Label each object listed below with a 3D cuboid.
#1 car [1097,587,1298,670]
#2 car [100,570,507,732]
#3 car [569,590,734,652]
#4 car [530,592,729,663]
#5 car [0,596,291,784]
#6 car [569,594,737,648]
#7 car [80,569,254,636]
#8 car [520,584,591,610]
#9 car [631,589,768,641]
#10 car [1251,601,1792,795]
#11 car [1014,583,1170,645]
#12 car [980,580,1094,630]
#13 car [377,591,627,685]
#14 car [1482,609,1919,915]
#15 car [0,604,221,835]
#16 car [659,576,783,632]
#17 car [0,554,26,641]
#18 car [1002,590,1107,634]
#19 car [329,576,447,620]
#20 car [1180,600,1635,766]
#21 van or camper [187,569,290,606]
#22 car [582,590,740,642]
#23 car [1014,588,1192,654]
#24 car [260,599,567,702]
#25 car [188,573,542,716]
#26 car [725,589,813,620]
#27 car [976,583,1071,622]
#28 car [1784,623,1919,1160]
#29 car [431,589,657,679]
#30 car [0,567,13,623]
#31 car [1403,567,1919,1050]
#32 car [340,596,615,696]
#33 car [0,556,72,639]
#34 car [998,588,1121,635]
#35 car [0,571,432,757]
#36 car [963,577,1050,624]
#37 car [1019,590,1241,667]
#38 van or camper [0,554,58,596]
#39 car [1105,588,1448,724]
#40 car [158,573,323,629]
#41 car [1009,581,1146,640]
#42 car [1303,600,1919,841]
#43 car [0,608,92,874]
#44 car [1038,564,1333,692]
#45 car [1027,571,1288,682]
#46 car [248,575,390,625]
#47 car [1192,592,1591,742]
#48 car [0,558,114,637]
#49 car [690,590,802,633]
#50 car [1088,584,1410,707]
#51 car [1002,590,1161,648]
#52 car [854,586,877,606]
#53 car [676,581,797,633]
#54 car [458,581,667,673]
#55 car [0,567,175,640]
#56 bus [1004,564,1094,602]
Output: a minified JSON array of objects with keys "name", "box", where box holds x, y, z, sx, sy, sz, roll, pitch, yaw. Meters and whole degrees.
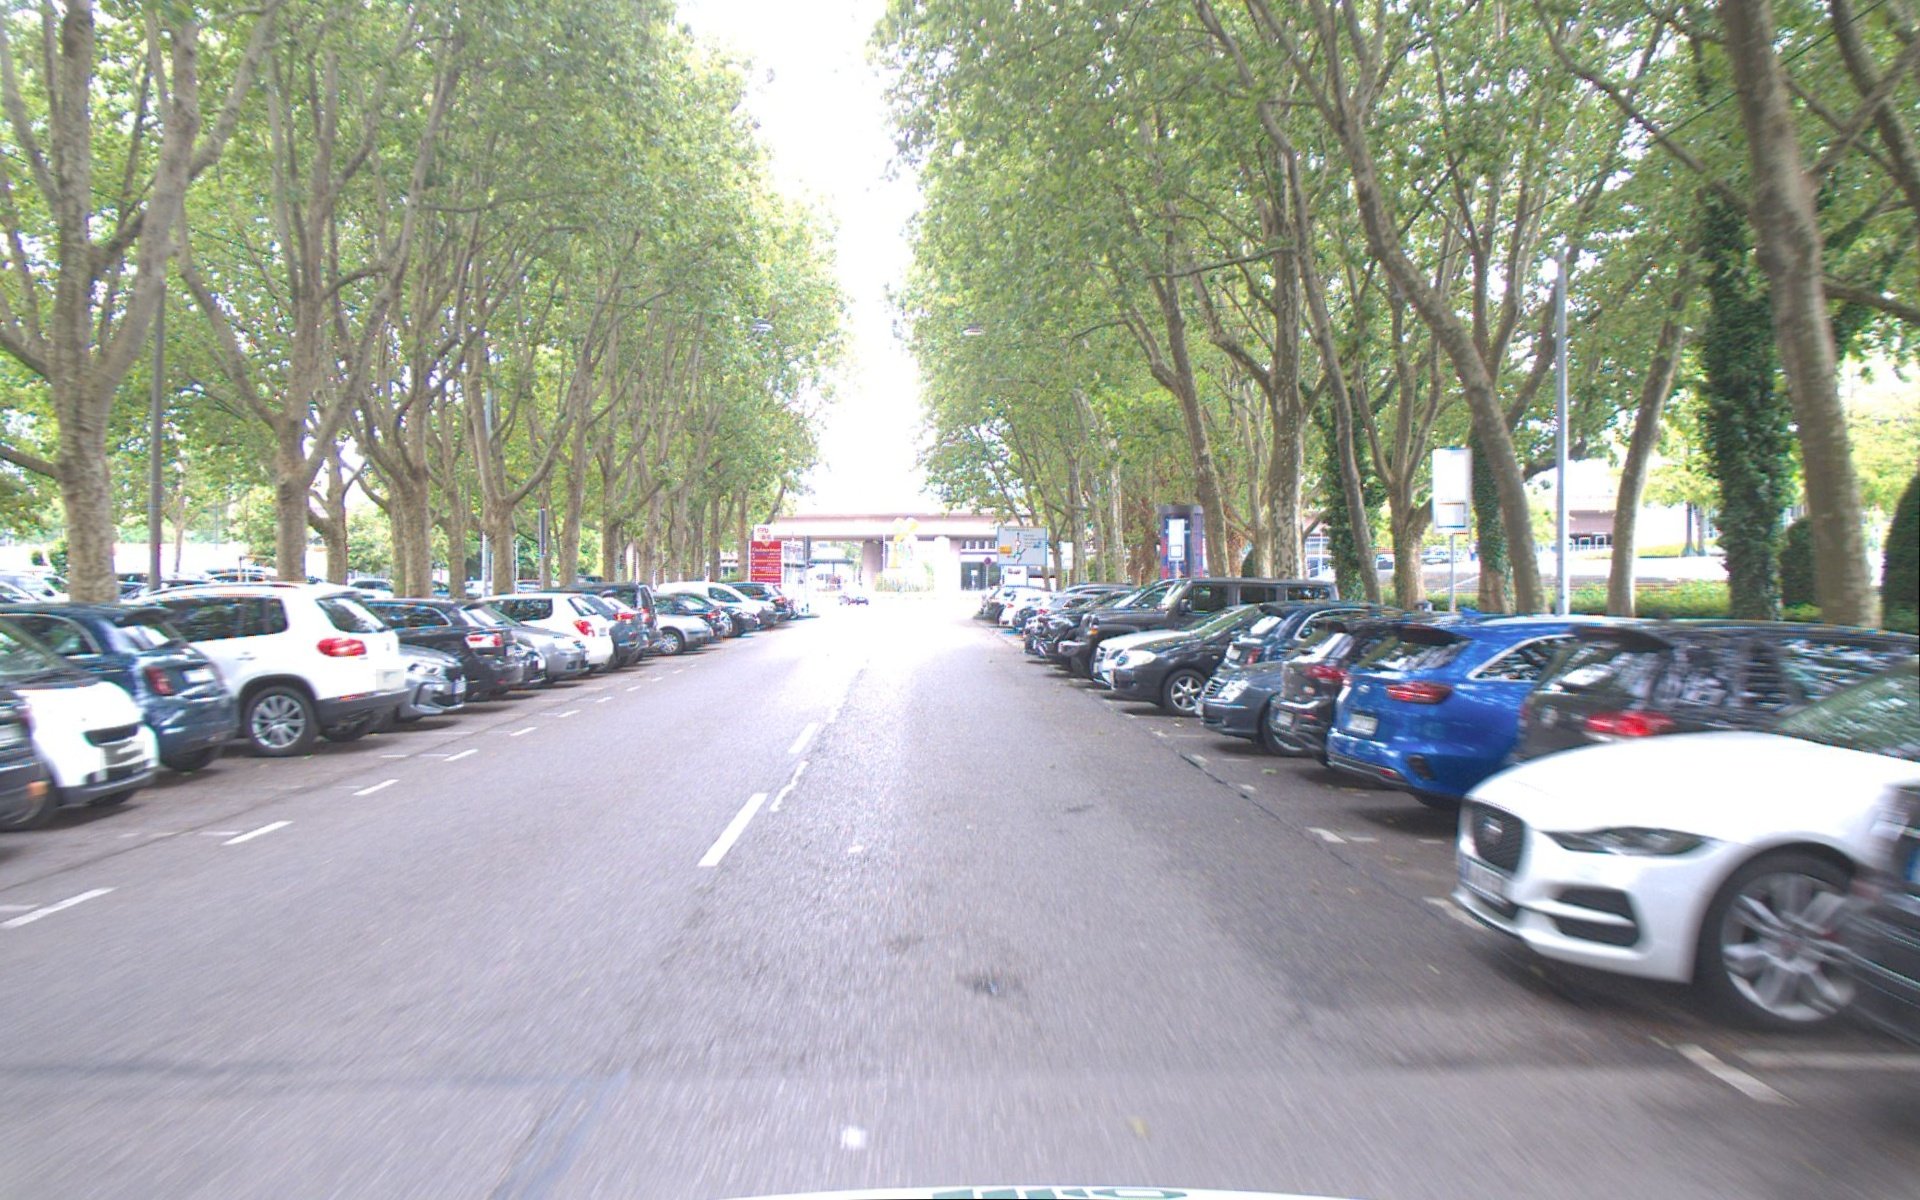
[{"name":"car","box":[5.722,0.677,40.129,4.411,1.828,2.044,2,1,-8]},{"name":"car","box":[-7.451,0.558,19.072,3.905,1.711,1.855,1,0,-1]},{"name":"car","box":[-7.736,0.510,41.758,3.852,1.422,1.702,-1,1,-3]},{"name":"car","box":[-7.792,0.629,39.289,4.374,1.508,1.702,-1,1,-3]},{"name":"car","box":[-8.106,0.716,14.237,3.905,1.478,1.855,1,0,-1]},{"name":"car","box":[-8.679,0.589,46.969,4.372,1.371,1.901,-1,1,0]},{"name":"car","box":[-23.868,0.081,49.916,4.234,1.893,2.027,1,0,-3]},{"name":"car","box":[-25.261,-0.183,103.442,3.906,1.549,2.001,1,0,-1]},{"name":"car","box":[-8.081,0.450,51.455,3.896,1.445,1.756,-2,0,2]},{"name":"car","box":[4.824,0.821,14.553,4.114,1.481,1.783,2,1,-5]},{"name":"car","box":[3.889,0.396,49.372,4.497,1.668,1.872,2,1,0]},{"name":"car","box":[2.966,0.188,64.534,4.259,1.791,1.924,2,0,-3]},{"name":"car","box":[-8.103,0.653,29.444,3.909,1.511,1.704,-1,1,3]},{"name":"car","box":[5.207,0.862,9.324,3.934,1.472,1.784,2,1,-1]},{"name":"car","box":[-7.620,0.765,11.703,3.905,1.478,1.855,1,0,-1]},{"name":"car","box":[-8.521,0.129,59.264,4.233,1.841,1.866,-2,1,-5]},{"name":"car","box":[-22.761,-0.091,34.854,4.844,1.828,2.181,1,0,-4]},{"name":"car","box":[3.377,0.417,59.526,3.568,1.451,1.664,2,1,-5]},{"name":"car","box":[-24.035,-0.078,69.639,4.234,1.739,2.131,1,0,-3]},{"name":"car","box":[4.477,0.810,16.914,4.114,1.481,1.783,2,1,-5]},{"name":"van or camper","box":[-36.181,-0.606,83.017,4.234,1.739,2.131,1,0,-3]},{"name":"car","box":[-8.836,0.450,49.158,4.373,1.393,1.879,-1,1,-2]},{"name":"car","box":[3.648,0.519,42.676,4.264,1.528,1.923,2,1,-7]},{"name":"car","box":[-7.934,0.720,24.311,3.907,1.393,1.843,1,0,-3]},{"name":"car","box":[-7.644,0.558,21.530,3.905,1.711,1.855,1,0,-1]},{"name":"car","box":[-9.144,0.231,79.404,3.911,1.409,1.912,1,0,2]},{"name":"car","box":[2.928,0.111,76.921,4.258,1.662,1.925,2,1,-1]},{"name":"car","box":[4.508,0.849,4.407,3.752,1.442,1.718,1,1,-1]},{"name":"car","box":[-7.831,0.624,31.395,3.852,1.542,1.727,-1,1,-3]},{"name":"car","box":[-34.749,-0.205,55.612,4.482,1.887,2.297,1,0,3]},{"name":"car","box":[4.329,0.747,6.800,4.432,1.651,2.054,1,1,-1]},{"name":"car","box":[-7.685,0.715,26.623,3.913,1.445,1.702,-1,1,-3]},{"name":"car","box":[-23.055,-0.093,37.279,4.844,1.828,2.181,1,0,-4]},{"name":"car","box":[3.388,0.384,56.885,4.064,1.483,1.727,2,0,-1]},{"name":"car","box":[-7.579,0.611,16.643,3.905,1.711,1.855,1,0,-1]},{"name":"car","box":[2.127,0.002,76.387,3.906,2.048,2.000,2,1,-1]},{"name":"car","box":[3.504,0.576,34.658,4.404,1.453,1.932,2,0,-1]},{"name":"van or camper","box":[-48.057,-1.231,83.798,1.953,2.049,5.300,1,0,-2]},{"name":"car","box":[4.092,0.711,21.796,4.111,1.545,1.784,2,0,-2]},{"name":"car","box":[-23.946,0.042,55.178,4.460,1.756,2.295,1,0,-3]},{"name":"car","box":[3.842,0.324,54.363,4.260,1.776,1.836,2,1,-3]},{"name":"car","box":[4.664,0.811,11.770,3.939,1.472,1.911,2,1,-7]},{"name":"car","box":[-7.349,0.767,9.306,3.910,1.478,1.853,1,0,-7]},{"name":"car","box":[3.611,0.428,27.064,4.407,1.899,2.045,2,1,-5]},{"name":"car","box":[3.499,0.446,29.976,4.405,1.828,2.047,2,1,-2]},{"name":"car","box":[-24.037,-0.001,62.130,4.427,1.793,2.295,1,0,-3]},{"name":"car","box":[4.947,0.748,19.293,4.114,1.545,1.783,2,1,-5]},{"name":"car","box":[-23.379,-0.096,39.806,4.844,1.828,2.181,1,0,-4]},{"name":"car","box":[-8.277,0.428,64.230,4.044,1.477,2.013,-2,1,0]},{"name":"car","box":[4.169,0.636,24.469,4.402,1.599,2.048,2,1,1]},{"name":"car","box":[3.352,0.513,46.171,4.258,1.438,1.925,2,1,-1]},{"name":"car","box":[-7.726,-0.319,134.873,1.805,1.536,4.013,1,0,-3]},{"name":"car","box":[-8.310,0.253,61.787,4.230,1.826,2.036,1,0,-2]},{"name":"car","box":[-8.068,0.518,33.852,3.852,1.738,1.751,-1,1,-3]},{"name":"car","box":[-23.161,0.070,42.602,4.844,1.828,2.181,0,0,-4]},{"name":"bus","box":[8.420,-1.590,155.689,9.940,3.458,2.303,0,1,-44]}]
